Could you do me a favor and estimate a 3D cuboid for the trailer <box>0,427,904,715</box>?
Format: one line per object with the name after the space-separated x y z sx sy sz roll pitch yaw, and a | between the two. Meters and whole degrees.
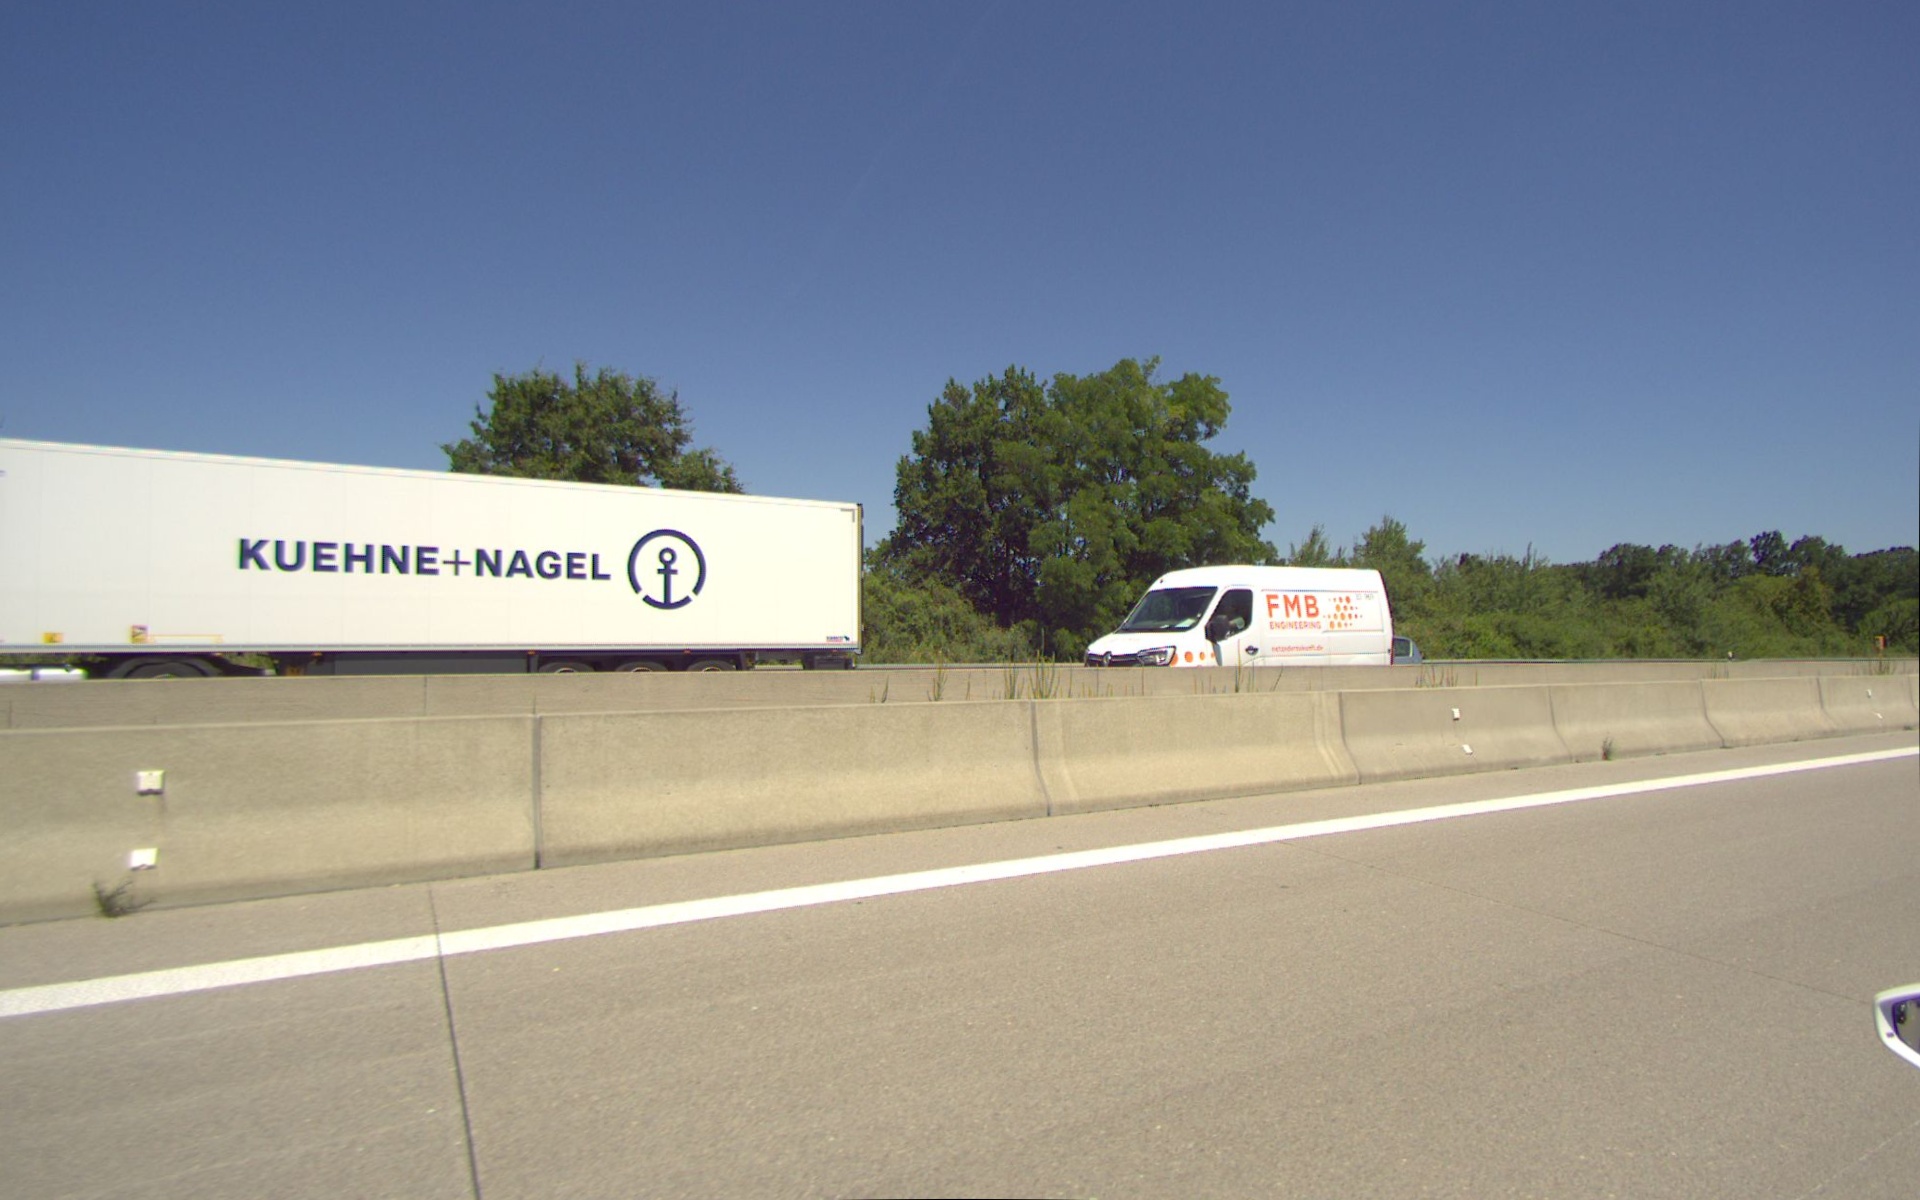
-7.915 -0.263 18.421 13.869 3.889 3.145 1 0 -31 | trailer

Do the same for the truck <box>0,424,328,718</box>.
-14.208 -0.412 14.619 8.276 3.960 3.145 1 0 -31 | truck

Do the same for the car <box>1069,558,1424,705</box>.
4.777 0.487 16.355 5.912 2.040 2.058 1 0 -31 | car
